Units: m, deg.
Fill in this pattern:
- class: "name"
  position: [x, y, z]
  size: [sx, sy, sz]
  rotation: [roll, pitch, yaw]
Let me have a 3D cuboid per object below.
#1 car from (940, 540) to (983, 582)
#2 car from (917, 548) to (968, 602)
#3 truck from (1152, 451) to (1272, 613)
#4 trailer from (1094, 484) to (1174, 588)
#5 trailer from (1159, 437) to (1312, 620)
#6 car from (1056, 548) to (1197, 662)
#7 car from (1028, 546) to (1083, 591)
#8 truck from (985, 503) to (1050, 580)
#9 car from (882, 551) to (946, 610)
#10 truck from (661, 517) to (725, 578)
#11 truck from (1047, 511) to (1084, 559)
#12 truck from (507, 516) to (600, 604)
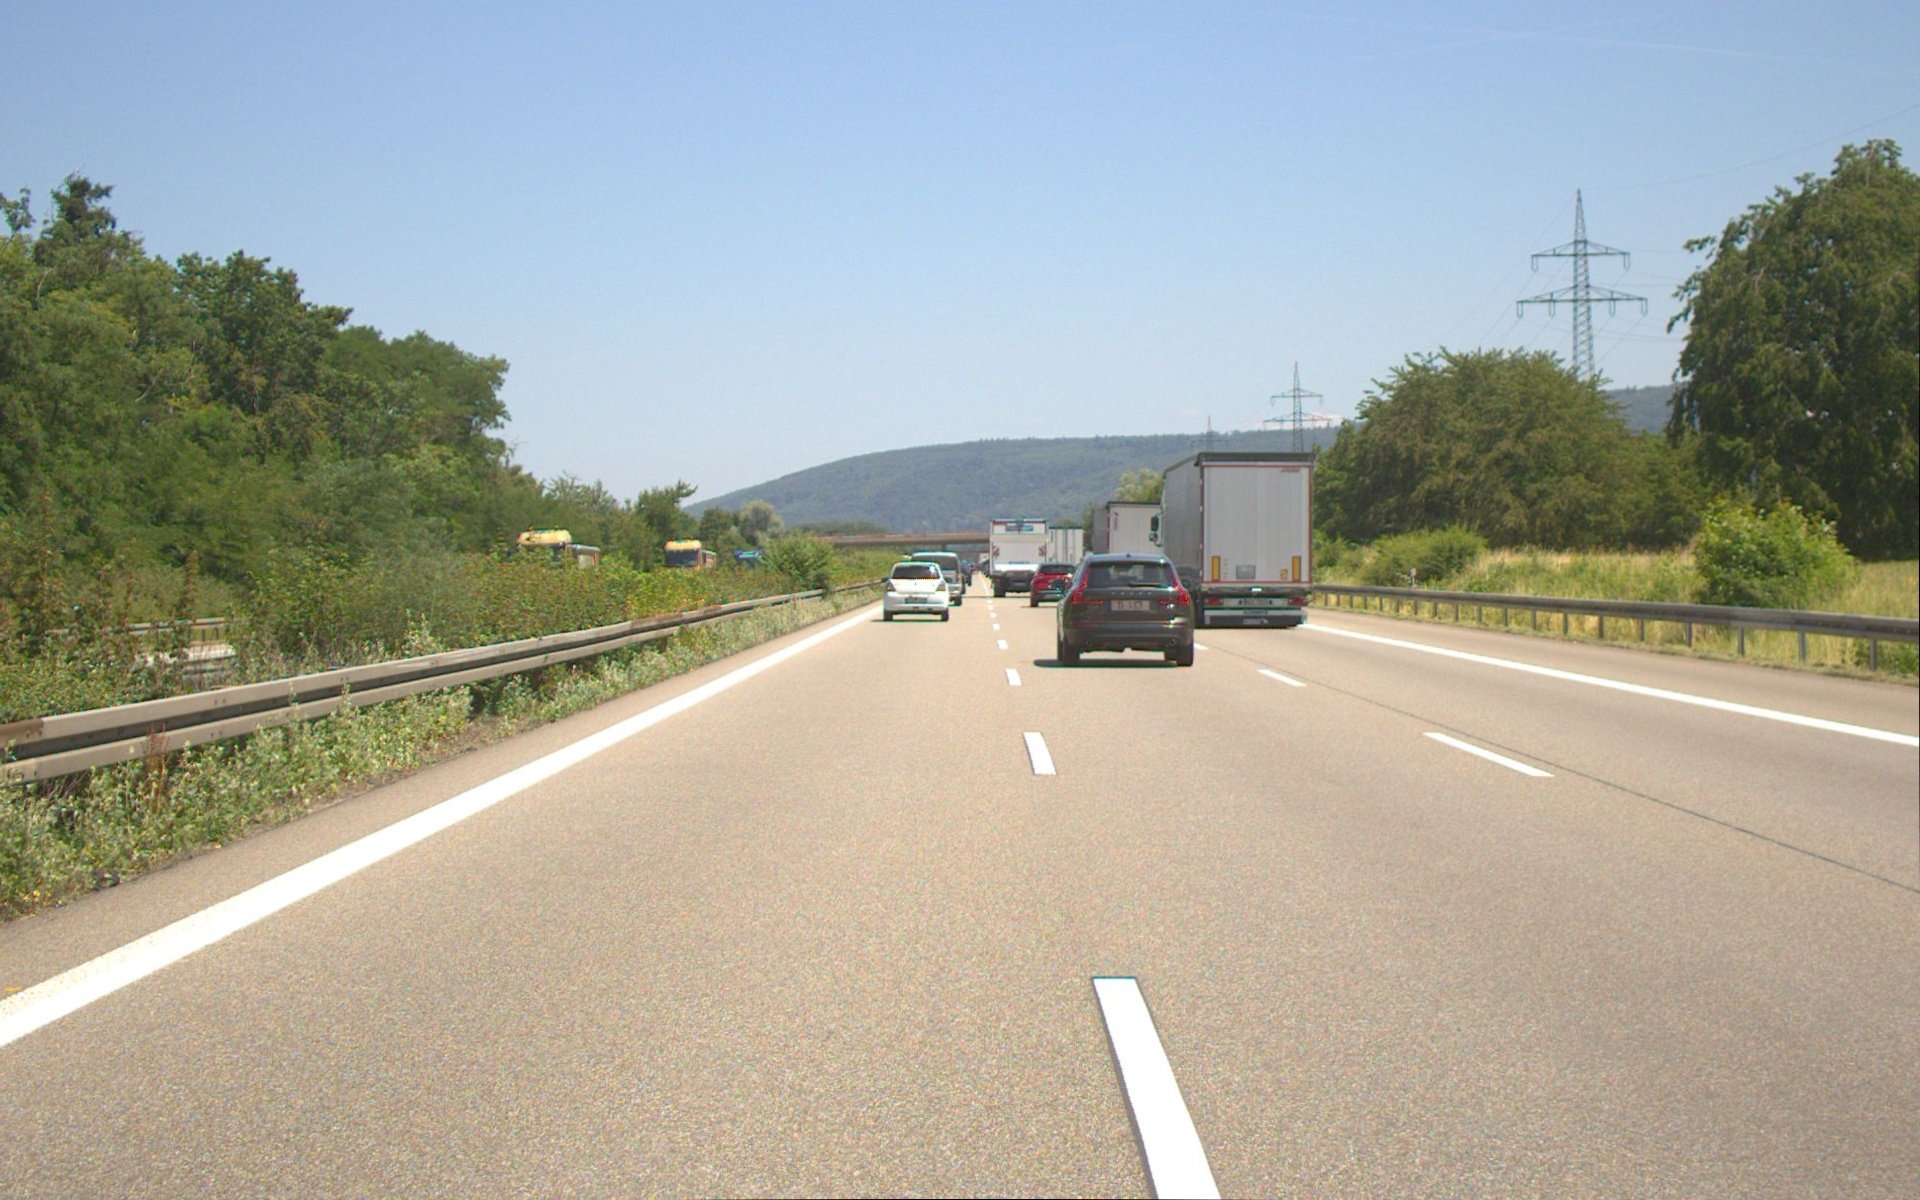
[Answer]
- class: "car"
  position: [0.076, -1.937, 169.544]
  size: [1.993, 2.007, 4.000]
  rotation: [-1, 1, -1]
- class: "car"
  position: [-0.619, -0.886, 121.890]
  size: [1.761, 1.844, 4.000]
  rotation: [-1, 1, 0]
- class: "truck"
  position: [6.574, -1.767, 90.359]
  size: [2.736, 4.105, 6.125]
  rotation: [0, 1, 0]
- class: "trailer"
  position: [7.300, -2.663, 146.121]
  size: [2.789, 4.149, 13.574]
  rotation: [-2, 1, 1]
- class: "trailer"
  position: [6.535, -1.676, 83.460]
  size: [2.736, 4.092, 13.122]
  rotation: [0, 1, 0]
- class: "car"
  position: [2.414, 0.047, 50.753]
  size: [1.873, 1.618, 4.004]
  rotation: [0, 1, 0]
- class: "car"
  position: [3.277, -1.087, 118.225]
  size: [1.803, 1.540, 4.000]
  rotation: [0, 1, 0]
- class: "truck"
  position: [2.522, -2.590, 153.833]
  size: [2.782, 3.361, 8.127]
  rotation: [0, 0, 0]
- class: "car"
  position: [-1.183, -0.528, 89.475]
  size: [1.607, 1.462, 4.000]
  rotation: [-1, 1, 0]
- class: "truck"
  position: [-17.013, -3.368, 219.684]
  size: [2.899, 3.693, 11.899]
  rotation: [-3, 1, 0]
- class: "truck"
  position: [7.203, -4.435, 235.224]
  size: [2.221, 3.198, 10.385]
  rotation: [-1, 1, 0]
- class: "truck"
  position: [-18.048, -1.783, 153.386]
  size: [2.538, 3.622, 11.845]
  rotation: [-3, 1, 0]
